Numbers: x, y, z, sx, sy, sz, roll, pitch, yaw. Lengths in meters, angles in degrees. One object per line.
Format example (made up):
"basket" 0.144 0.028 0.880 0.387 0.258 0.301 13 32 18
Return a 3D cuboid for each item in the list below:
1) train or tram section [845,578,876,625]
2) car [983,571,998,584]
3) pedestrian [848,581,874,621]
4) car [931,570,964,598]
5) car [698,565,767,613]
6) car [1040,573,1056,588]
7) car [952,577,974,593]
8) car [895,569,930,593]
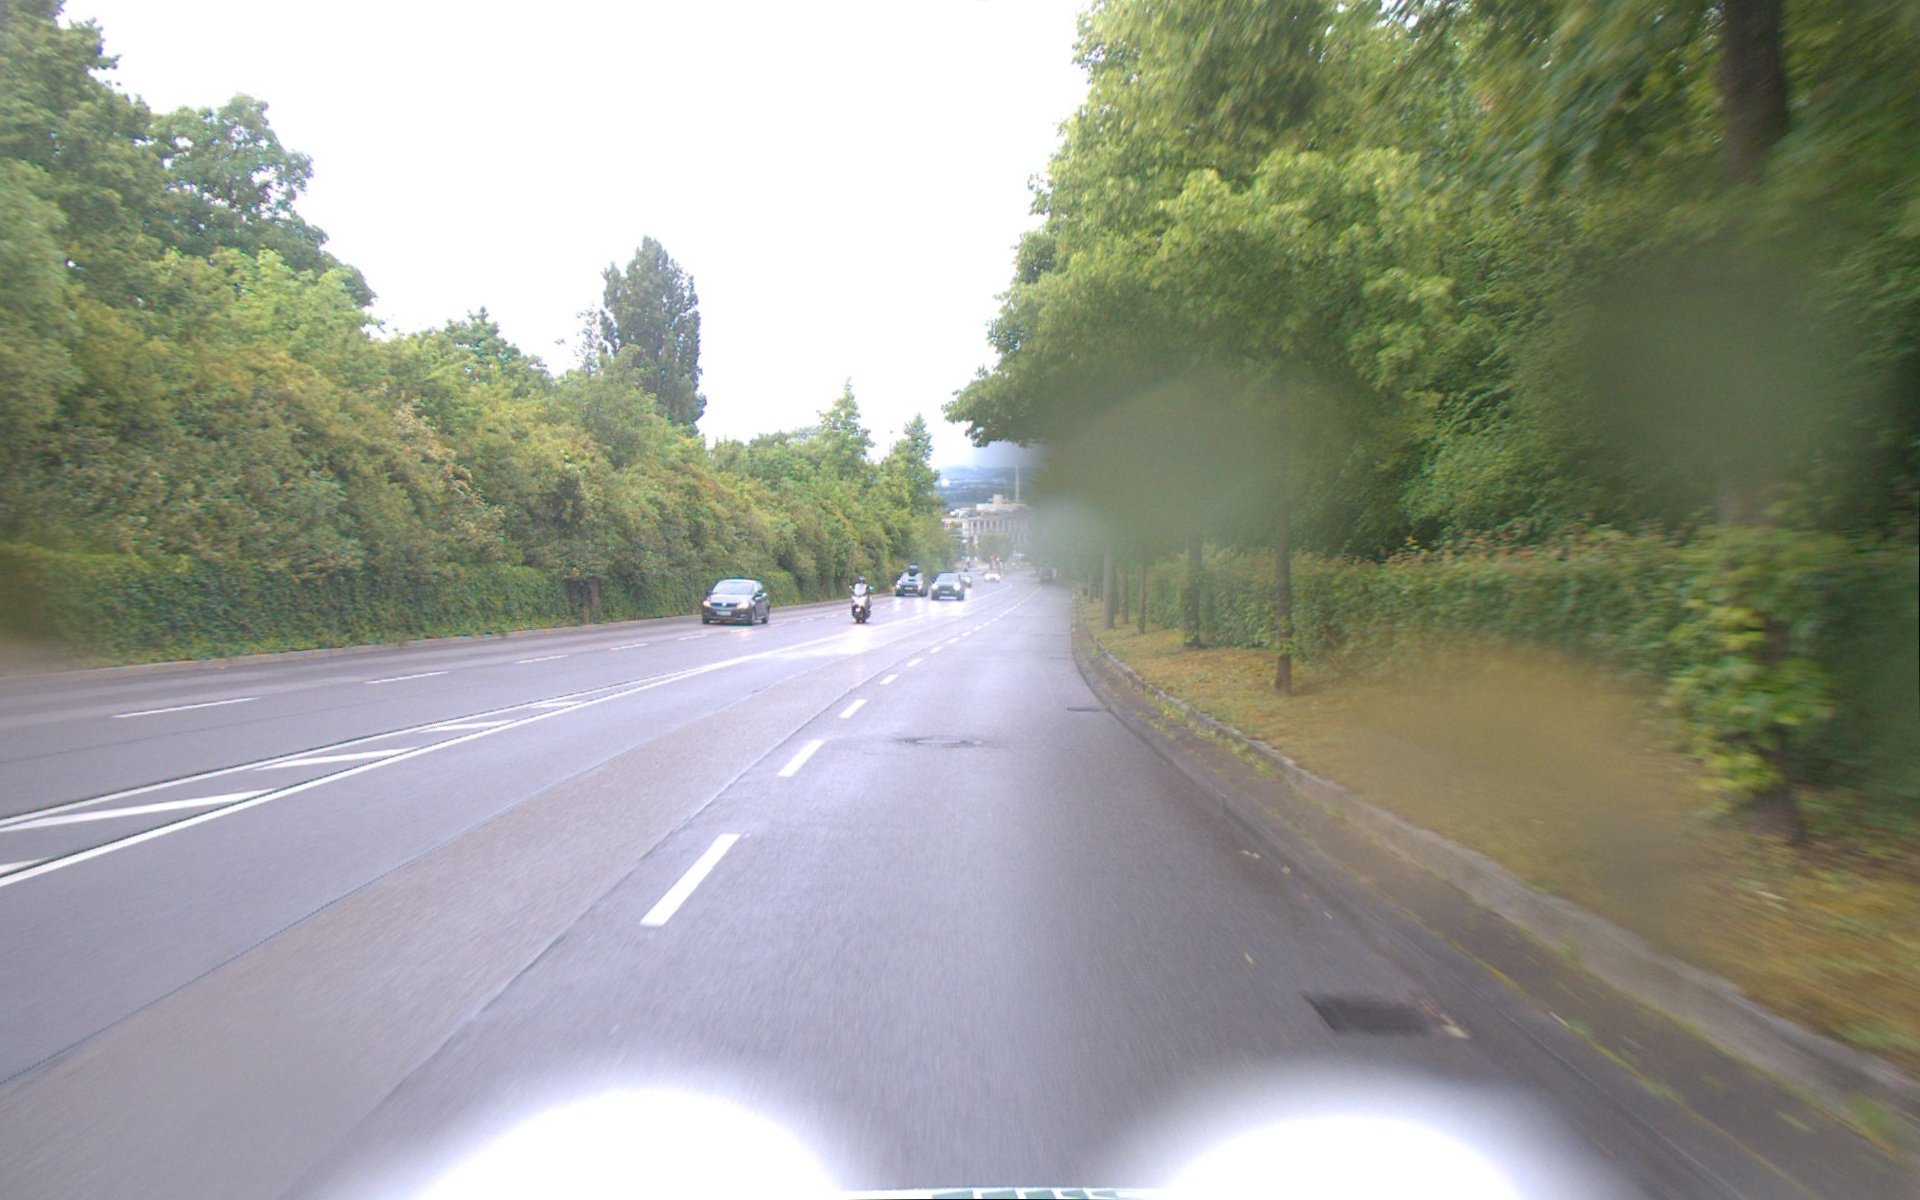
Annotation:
"train or tram section" -3.562 0.040 59.333 0.774 1.597 2.385 2 0 3
"car" 3.965 -2.950 214.517 1.679 1.531 4.519 2 1 4
"pedestrian" -3.562 0.040 59.363 0.774 1.408 0.975 2 0 3
"car" -0.787 -1.036 106.645 1.774 1.686 4.597 1 1 3
"car" -7.280 -0.342 53.201 1.516 1.462 3.698 1 0 3
"car" 10.847 -2.428 203.397 1.810 1.731 3.795 2 0 5
"car" 0.303 -1.485 160.744 1.723 1.405 4.841 2 2 4
"car" -3.251 -1.293 113.867 1.859 1.580 4.633 2 1 4
